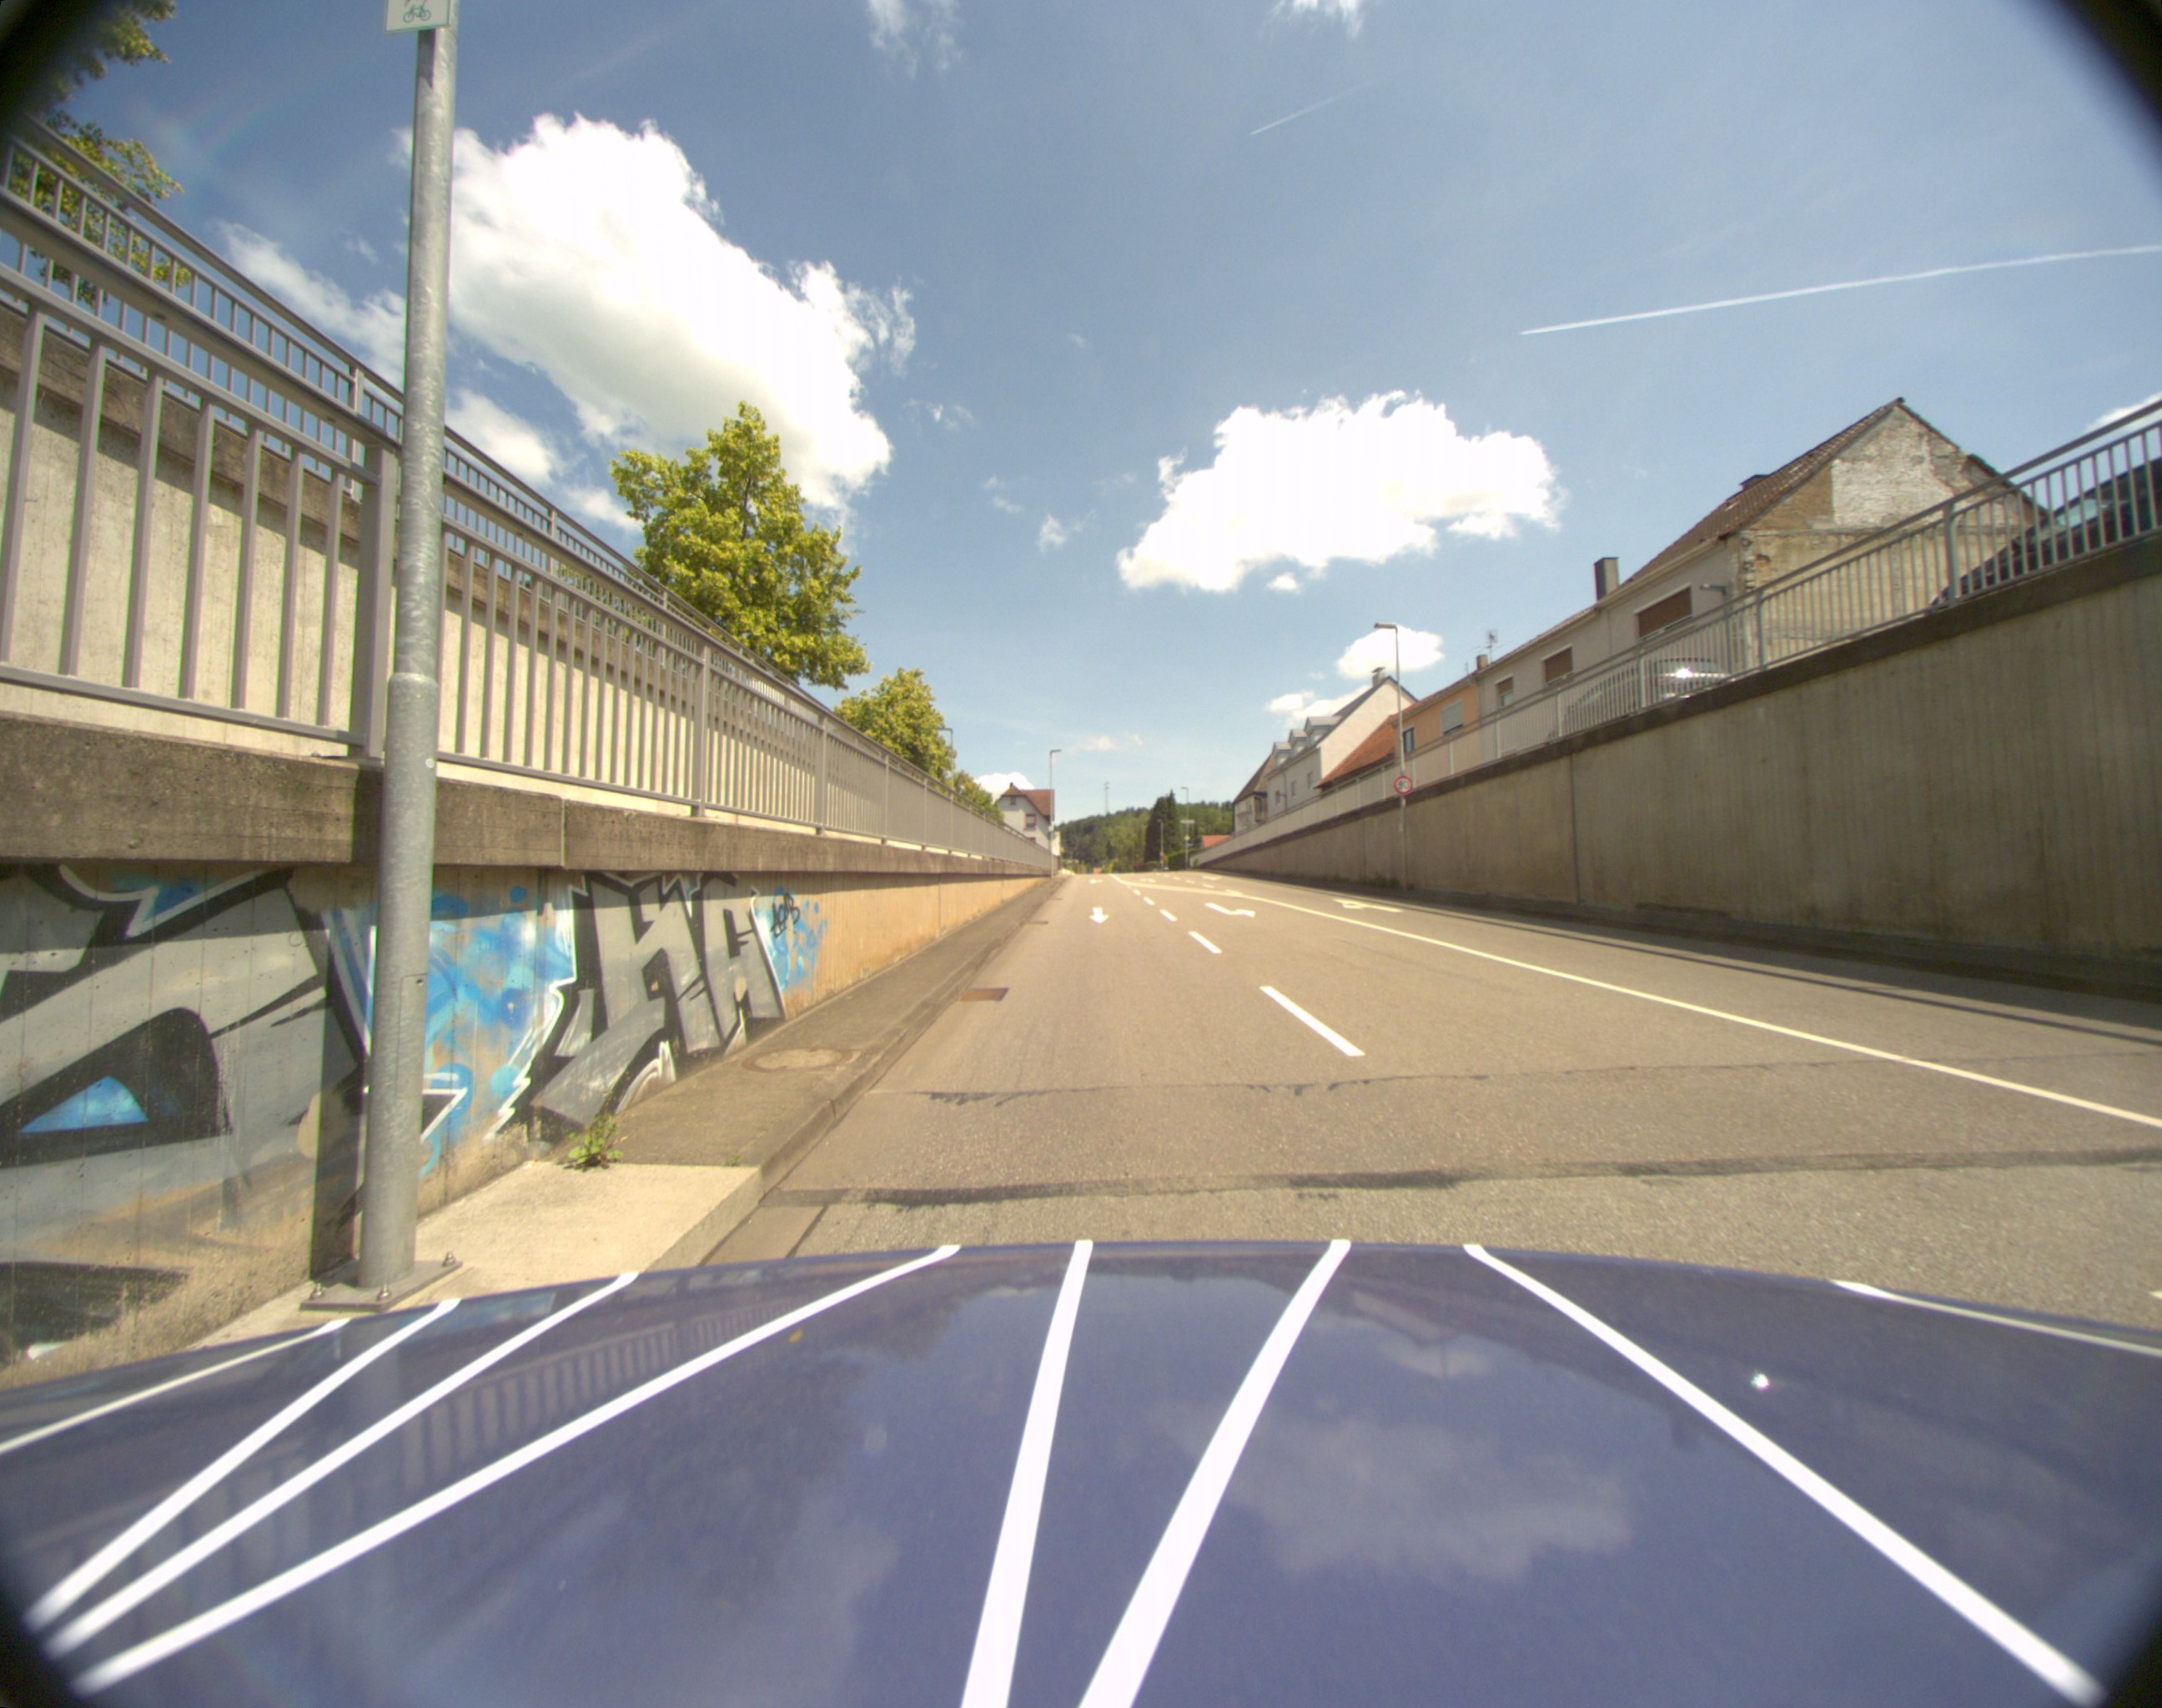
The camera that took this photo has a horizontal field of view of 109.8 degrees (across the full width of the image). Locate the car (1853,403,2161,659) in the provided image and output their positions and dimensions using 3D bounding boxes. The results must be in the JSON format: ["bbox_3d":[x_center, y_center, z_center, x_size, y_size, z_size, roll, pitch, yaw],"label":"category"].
[{"bbox_3d":[11.712,-3.650,8.455,1.827,1.695,4.223,-1,-2,-1],"label":"car"}]

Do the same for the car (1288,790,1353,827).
[{"bbox_3d":[12.040,-2.237,38.464,1.790,1.396,4.394,-1,-2,-1],"label":"car"}]

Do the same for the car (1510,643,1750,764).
[{"bbox_3d":[11.362,-3.035,16.201,1.803,1.515,4.394,-1,-2,-1],"label":"car"}]
